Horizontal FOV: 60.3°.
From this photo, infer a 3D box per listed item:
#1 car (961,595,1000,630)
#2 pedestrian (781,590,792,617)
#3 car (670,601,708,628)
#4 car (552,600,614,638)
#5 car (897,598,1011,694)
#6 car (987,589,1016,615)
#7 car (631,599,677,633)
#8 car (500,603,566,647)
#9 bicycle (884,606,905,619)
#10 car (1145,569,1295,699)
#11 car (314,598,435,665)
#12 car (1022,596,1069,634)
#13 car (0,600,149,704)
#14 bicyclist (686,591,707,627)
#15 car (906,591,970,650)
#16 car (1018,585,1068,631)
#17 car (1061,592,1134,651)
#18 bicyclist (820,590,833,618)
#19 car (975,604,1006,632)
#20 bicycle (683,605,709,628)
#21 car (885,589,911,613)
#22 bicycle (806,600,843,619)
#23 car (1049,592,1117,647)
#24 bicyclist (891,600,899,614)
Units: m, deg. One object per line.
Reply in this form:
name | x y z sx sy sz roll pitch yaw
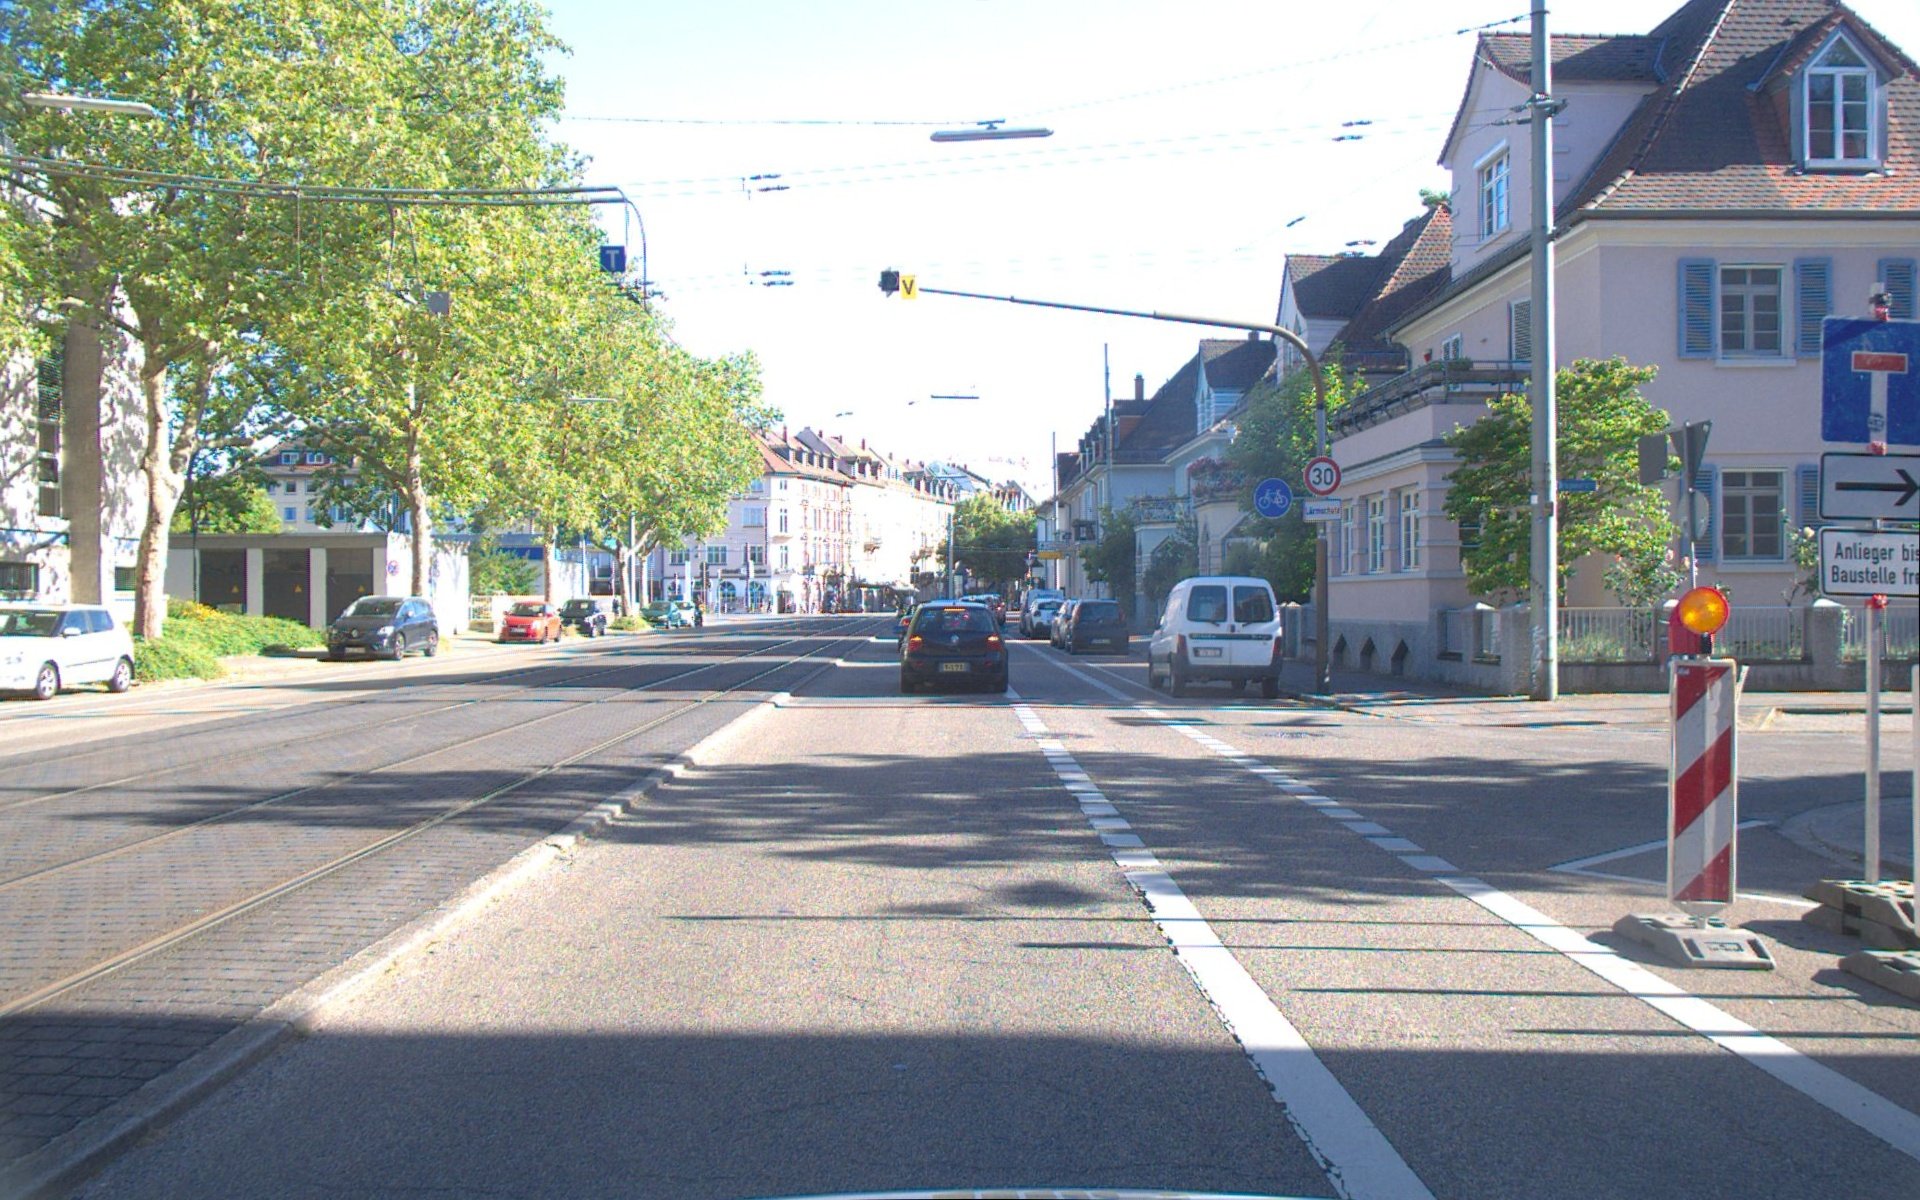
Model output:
car | 0.895 0.519 72.900 1.603 1.498 3.728 0 0 -1
pedestrian | -17.678 0.382 168.598 0.936 2.706 1.099 1 0 0
car | -15.714 0.841 95.991 1.603 1.498 3.728 0 0 -1
car | -15.920 0.795 70.008 1.756 1.491 3.835 2 0 -1
car | -0.166 0.691 26.912 1.713 1.399 3.998 -1 1 -2
car | 2.472 0.112 98.899 1.603 1.498 3.728 0 0 -1
car | -16.557 0.838 89.618 1.846 1.698 3.803 1 0 -2
car | -15.678 0.897 60.843 1.538 1.560 3.571 0 -1 -1
bicycle | -6.557 1.248 164.654 2.046 1.161 0.921 1 0 -5
car | 4.034 0.481 26.145 1.723 1.870 3.547 1 0 -1
car | -15.554 0.806 44.163 1.849 1.695 3.999 0 0 -1
car | 3.251 0.555 63.647 1.548 1.399 3.999 0 0 -1
car | -15.261 0.800 27.510 1.542 1.533 4.089 1 1 -1
bicyclist | -13.742 0.457 86.218 0.895 1.865 0.960 1 0 -1
car | -0.613 0.547 46.624 1.713 1.564 3.891 -1 0 0
car | 3.402 0.304 68.510 1.780 1.830 3.999 0 0 -1
car | 3.765 0.563 45.900 1.627 1.552 4.035 0 0 -1
bicyclist | -9.858 0.298 121.956 0.858 2.044 0.706 1 0 -1
car | 1.671 0.981 91.195 1.603 1.498 3.728 0 0 -1
bicycle | -13.747 0.839 86.148 0.895 1.102 3.202 1 1 -1
car | -4.040 0.054 107.757 1.603 1.498 3.728 1 0 -1
bicycle | -9.983 0.693 121.986 2.687 1.285 0.706 1 0 -1
car | 3.704 0.551 50.303 1.713 1.564 3.955 -1 0 0
bicyclist | -6.481 0.721 164.654 0.668 1.360 0.922 1 0 -4
